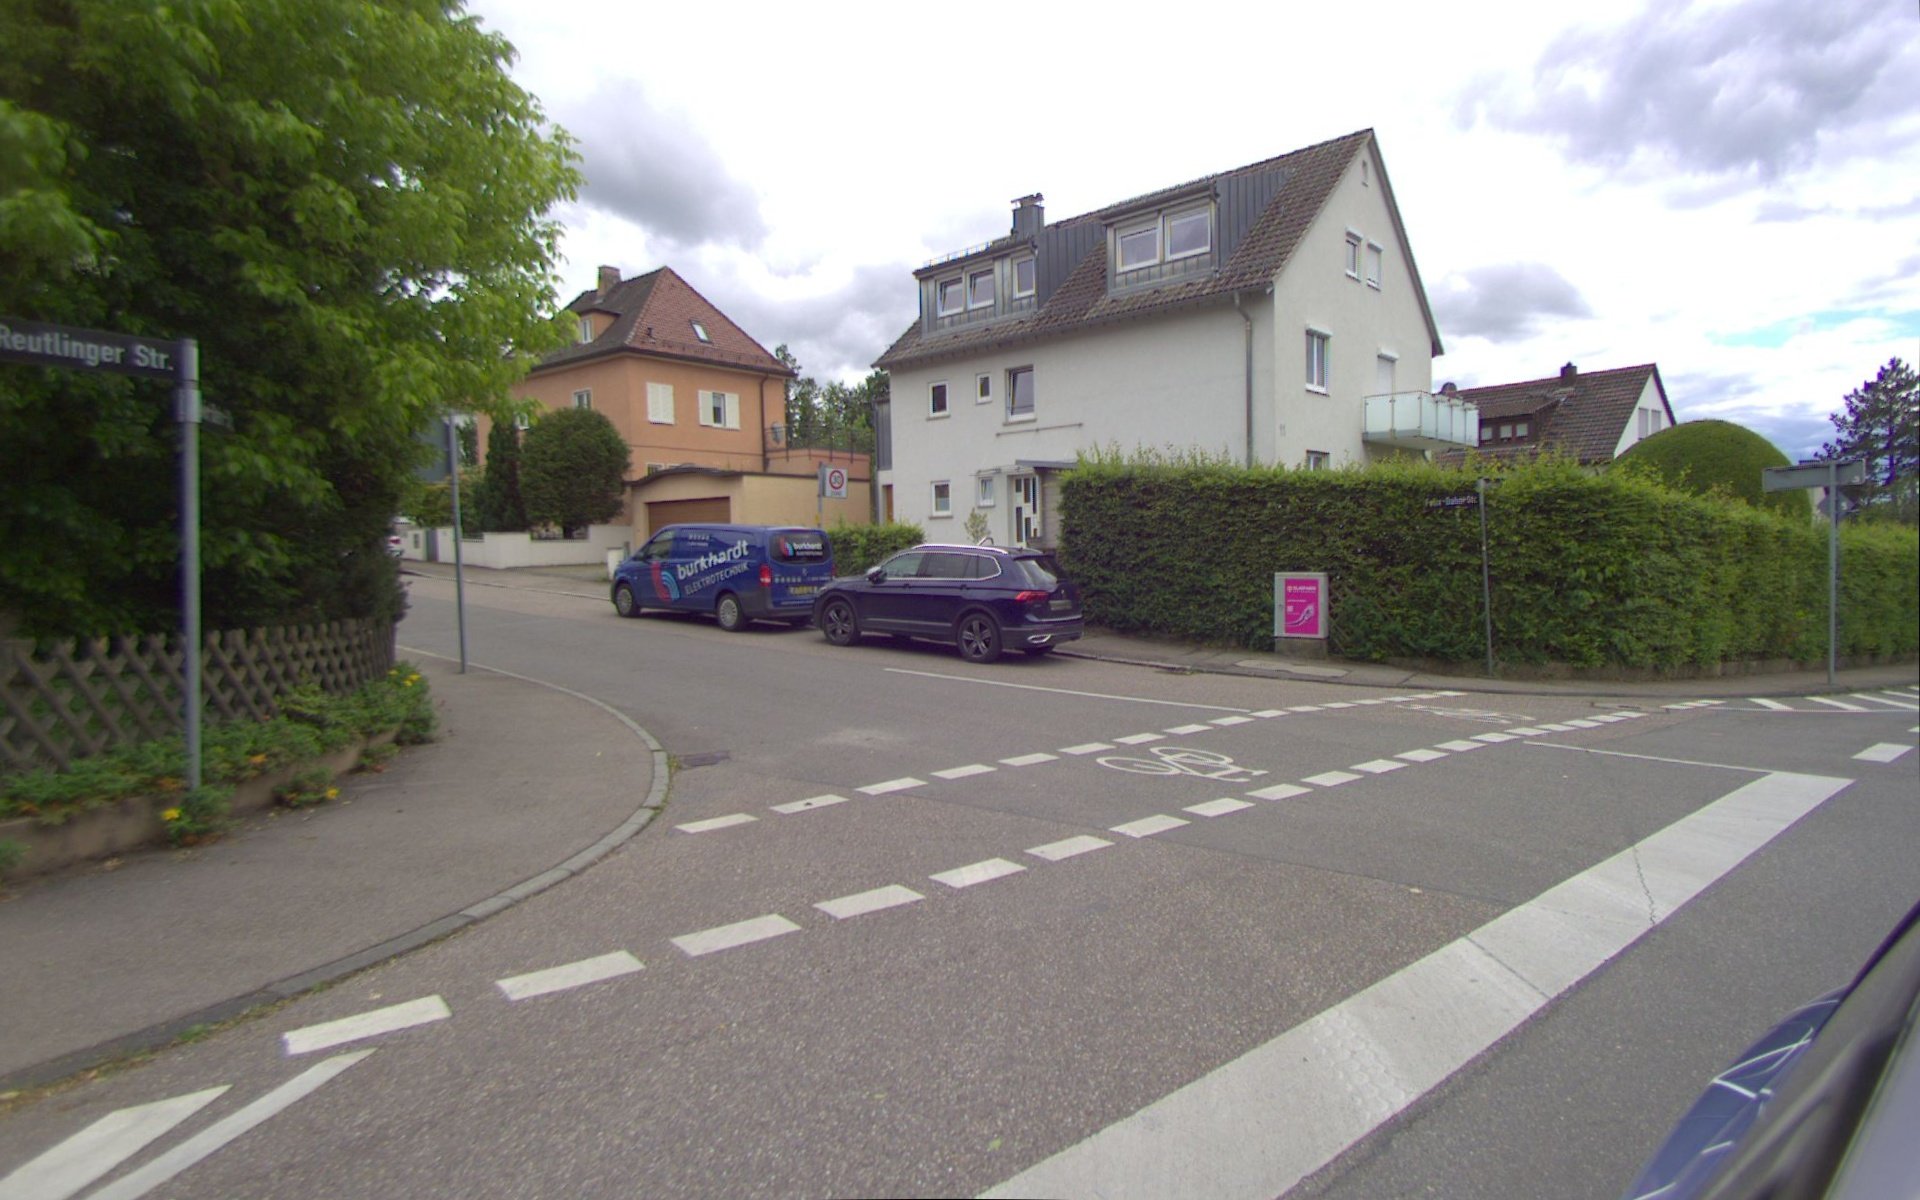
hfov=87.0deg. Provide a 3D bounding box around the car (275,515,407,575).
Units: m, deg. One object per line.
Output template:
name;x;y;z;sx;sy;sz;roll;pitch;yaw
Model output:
car;-18.473;-1.652;30.162;4.111;1.660;1.864;3;2;35

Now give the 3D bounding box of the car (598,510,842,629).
car;-4.614;-0.690;19.198;4.705;1.980;1.865;4;5;35

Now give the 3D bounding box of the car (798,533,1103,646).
car;-0.223;-0.220;15.960;4.492;1.453;1.974;4;1;36
